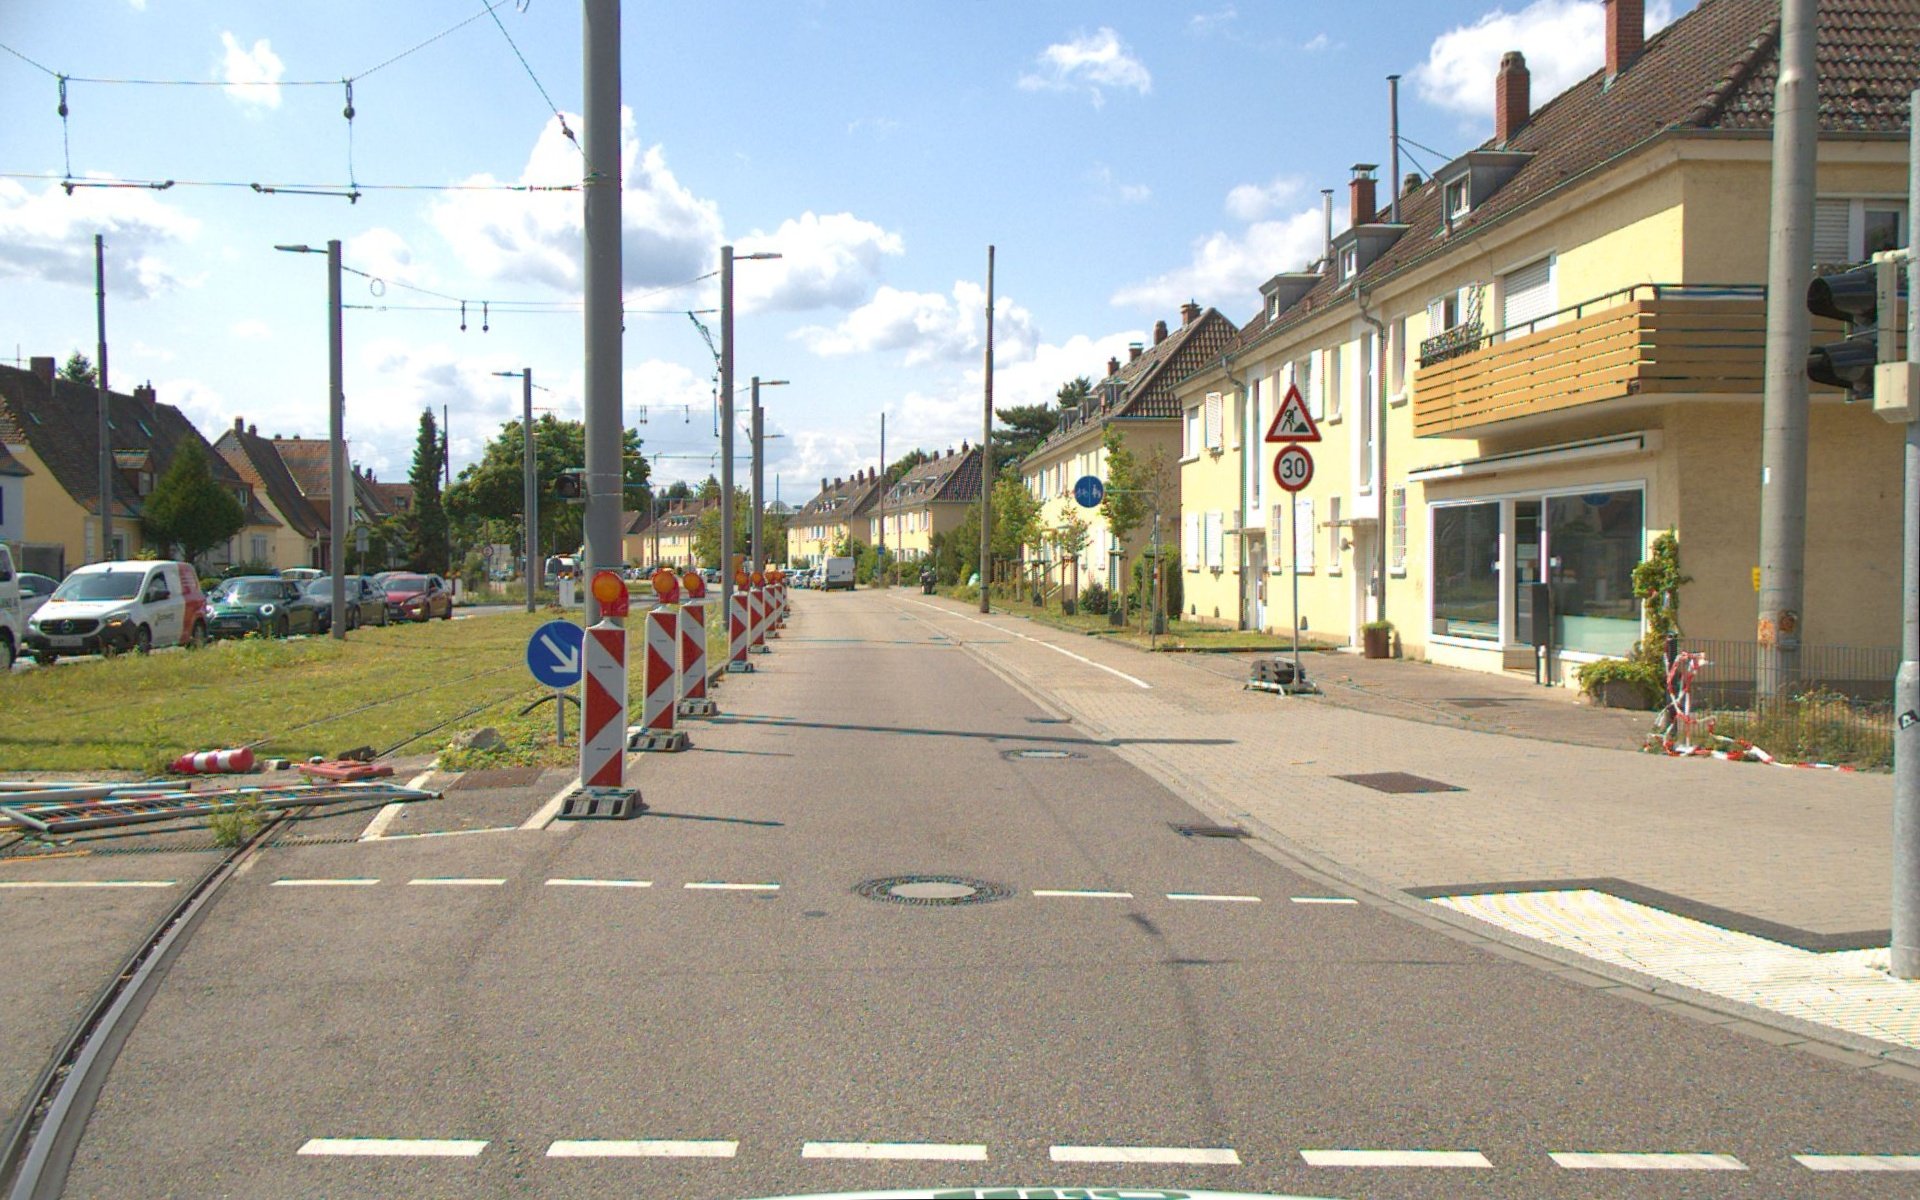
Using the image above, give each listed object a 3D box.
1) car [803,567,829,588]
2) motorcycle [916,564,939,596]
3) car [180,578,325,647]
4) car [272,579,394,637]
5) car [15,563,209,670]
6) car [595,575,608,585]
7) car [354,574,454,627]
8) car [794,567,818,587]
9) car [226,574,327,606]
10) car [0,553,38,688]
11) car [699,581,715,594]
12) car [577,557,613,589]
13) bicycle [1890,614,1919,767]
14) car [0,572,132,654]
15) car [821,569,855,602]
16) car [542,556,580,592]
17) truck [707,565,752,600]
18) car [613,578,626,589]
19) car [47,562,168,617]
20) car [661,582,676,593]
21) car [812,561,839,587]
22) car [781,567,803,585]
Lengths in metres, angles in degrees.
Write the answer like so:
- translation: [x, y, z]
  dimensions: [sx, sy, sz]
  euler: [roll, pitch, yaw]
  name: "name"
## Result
- translation: [-11.210, -1.746, 128.630]
  dimensions: [1.540, 1.578, 3.779]
  euler: [-1, 1, -12]
  name: "car"
- translation: [-1.735, -1.070, 88.423]
  dimensions: [1.046, 1.664, 2.081]
  euler: [0, 1, -6]
  name: "motorcycle"
- translation: [-15.835, 0.248, 37.251]
  dimensions: [1.878, 1.443, 3.995]
  euler: [-1, 1, -6]
  name: "car"
- translation: [-16.512, 0.180, 43.823]
  dimensions: [1.808, 1.438, 4.910]
  euler: [-1, 1, -6]
  name: "car"
- translation: [-15.557, 0.258, 30.611]
  dimensions: [1.699, 1.813, 4.399]
  euler: [-1, 1, -6]
  name: "car"
- translation: [-51.869, -2.943, 239.551]
  dimensions: [1.242, 1.451, 2.643]
  euler: [-1, 1, -26]
  name: "car"
- translation: [-17.014, -0.020, 50.825]
  dimensions: [1.807, 1.520, 4.852]
  euler: [0, 1, -5]
  name: "car"
- translation: [-12.491, -1.827, 134.112]
  dimensions: [1.540, 1.578, 3.778]
  euler: [-1, 1, -12]
  name: "car"
- translation: [-32.743, -0.495, 79.291]
  dimensions: [4.028, 1.492, 1.989]
  euler: [0, 1, -6]
  name: "car"
- translation: [-14.665, 0.314, 22.707]
  dimensions: [1.779, 1.955, 4.742]
  euler: [0, 1, -6]
  name: "car"
- translation: [-28.562, -1.435, 186.394]
  dimensions: [1.240, 1.451, 2.648]
  euler: [-1, 1, -22]
  name: "car"
- translation: [-27.572, -2.057, 124.839]
  dimensions: [2.367, 2.411, 4.860]
  euler: [-1, 1, -15]
  name: "car"
- translation: [7.650, 0.670, 11.421]
  dimensions: [0.585, 1.115, 2.260]
  euler: [0, 1, -23]
  name: "bicycle"
- translation: [-20.097, 0.255, 36.351]
  dimensions: [1.807, 1.688, 4.434]
  euler: [0, 1, -4]
  name: "car"
- translation: [-8.441, -1.002, 113.885]
  dimensions: [2.026, 2.186, 4.870]
  euler: [-1, 1, -8]
  name: "car"
- translation: [-27.220, -1.748, 112.653]
  dimensions: [2.367, 2.379, 4.859]
  euler: [-1, 1, -15]
  name: "car"
- translation: [-24.438, -1.846, 174.651]
  dimensions: [2.603, 3.555, 9.377]
  euler: [-1, 1, -21]
  name: "truck"
- translation: [-47.289, -2.301, 229.597]
  dimensions: [1.151, 1.451, 2.643]
  euler: [-1, 1, -26]
  name: "car"
- translation: [-29.909, -0.359, 58.111]
  dimensions: [3.321, 1.622, 1.602]
  euler: [5, 0, -7]
  name: "car"
- translation: [-36.461, -1.561, 206.766]
  dimensions: [1.240, 1.451, 2.647]
  euler: [-1, 1, -23]
  name: "car"
- translation: [-10.030, -1.927, 123.505]
  dimensions: [1.540, 1.930, 3.778]
  euler: [-1, 1, -12]
  name: "car"
- translation: [-14.815, -2.116, 145.807]
  dimensions: [1.540, 1.578, 3.469]
  euler: [-1, 1, -12]
  name: "car"
